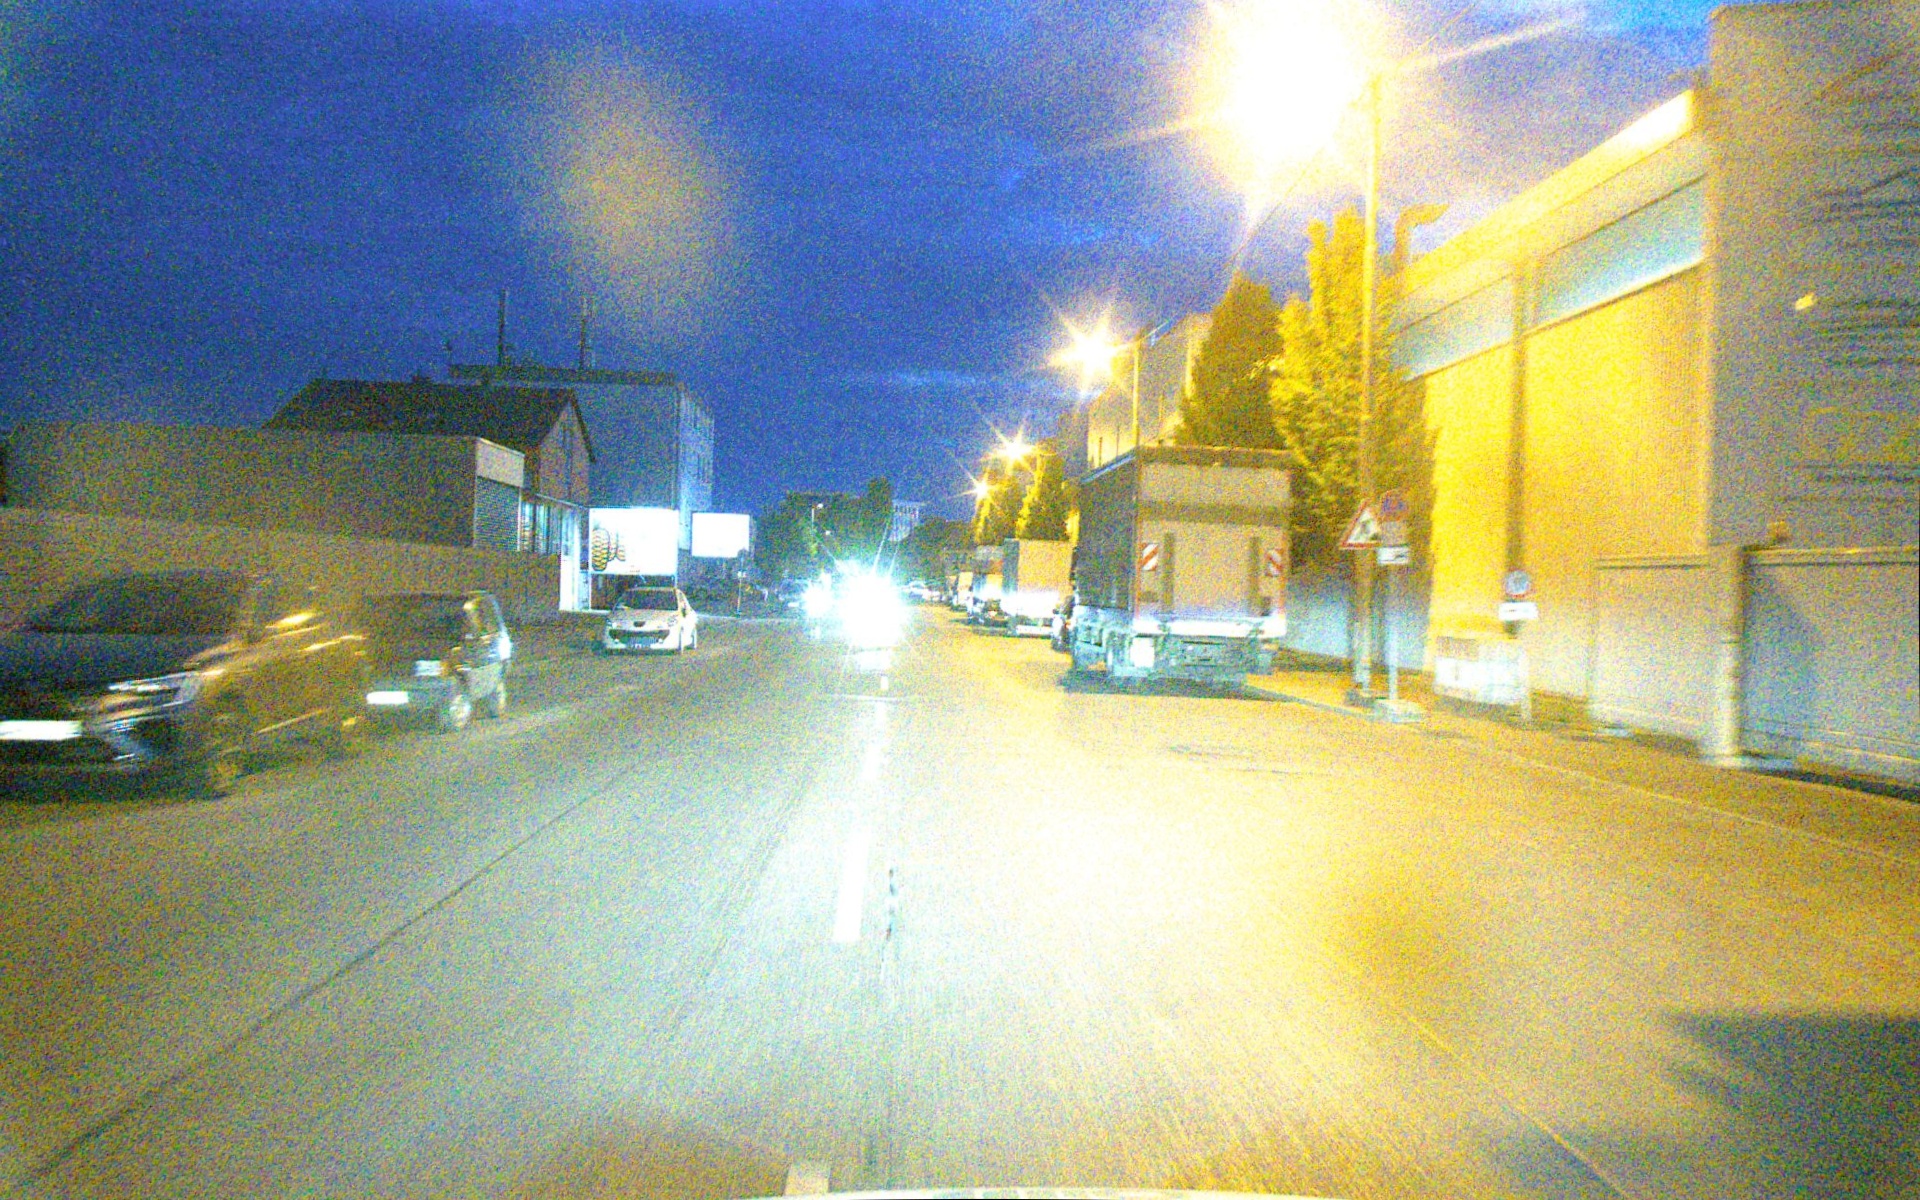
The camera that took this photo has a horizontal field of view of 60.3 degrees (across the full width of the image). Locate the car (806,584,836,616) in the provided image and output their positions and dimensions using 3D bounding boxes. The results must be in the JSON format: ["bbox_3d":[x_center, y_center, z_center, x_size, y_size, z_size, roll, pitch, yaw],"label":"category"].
[{"bbox_3d":[-8.278,-0.009,98.540,1.645,1.766,4.352,2,0,-4],"label":"car"}]

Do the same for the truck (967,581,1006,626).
[{"bbox_3d":[1.501,0.201,94.970,1.953,2.449,5.291,2,0,-2],"label":"truck"}]

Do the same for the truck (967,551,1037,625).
[{"bbox_3d":[2.034,-0.535,82.823,3.088,3.524,6.670,0,-1,-2],"label":"truck"}]

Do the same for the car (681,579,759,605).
[{"bbox_3d":[-15.270,-0.510,105.387,4.553,1.511,1.985,2,0,-25],"label":"car"}]

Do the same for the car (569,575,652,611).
[{"bbox_3d":[-18.102,-0.353,85.728,3.909,1.680,1.998,2,0,-5],"label":"car"}]

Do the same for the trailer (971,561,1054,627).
[{"bbox_3d":[2.256,-0.220,75.684,3.120,2.797,10.711,0,0,-2],"label":"trailer"}]

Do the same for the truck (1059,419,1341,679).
[{"bbox_3d":[4.093,-0.760,31.145,3.450,4.053,10.337,0,-1,-2],"label":"truck"}]

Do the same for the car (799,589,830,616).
[{"bbox_3d":[-10.107,0.159,114.830,1.859,1.766,4.354,2,0,-2],"label":"car"}]

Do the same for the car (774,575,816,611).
[{"bbox_3d":[-8.862,-0.361,89.037,1.953,1.825,3.999,2,0,-2],"label":"car"}]

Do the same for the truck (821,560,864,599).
[{"bbox_3d":[-11.901,-2.059,166.217,3.816,3.685,8.247,2,0,-7],"label":"truck"}]

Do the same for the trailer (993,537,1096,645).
[{"bbox_3d":[2.922,-0.287,59.379,2.634,3.525,7.802,2,-1,-4],"label":"trailer"}]

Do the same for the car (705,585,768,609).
[{"bbox_3d":[-15.375,-0.192,113.800,3.941,1.622,1.982,1,-1,-28],"label":"car"}]

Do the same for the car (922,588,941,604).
[{"bbox_3d":[-3.240,-0.448,187.330,1.953,1.713,3.999,2,0,-2],"label":"car"}]

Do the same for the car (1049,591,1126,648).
[{"bbox_3d":[3.551,0.546,46.673,1.815,1.545,3.817,0,-1,-1],"label":"car"}]

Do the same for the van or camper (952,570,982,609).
[{"bbox_3d":[0.454,-0.743,116.680,1.953,2.626,4.913,2,0,-1],"label":"van or camper"}]

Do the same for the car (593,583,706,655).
[{"bbox_3d":[-6.791,0.399,36.570,1.804,1.445,3.999,2,0,-2],"label":"car"}]

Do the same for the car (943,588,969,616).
[{"bbox_3d":[-0.375,0.142,137.052,1.953,2.183,3.999,2,0,-2],"label":"car"}]

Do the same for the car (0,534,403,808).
[{"bbox_3d":[-5.981,0.441,12.670,1.954,1.665,4.771,2,-1,-3],"label":"car"}]

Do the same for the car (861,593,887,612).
[{"bbox_3d":[-6.928,0.171,133.952,1.953,1.422,3.999,2,0,-2],"label":"car"}]

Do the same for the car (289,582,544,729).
[{"bbox_3d":[-5.820,0.539,18.180,1.570,1.378,3.998,2,0,-2],"label":"car"}]
